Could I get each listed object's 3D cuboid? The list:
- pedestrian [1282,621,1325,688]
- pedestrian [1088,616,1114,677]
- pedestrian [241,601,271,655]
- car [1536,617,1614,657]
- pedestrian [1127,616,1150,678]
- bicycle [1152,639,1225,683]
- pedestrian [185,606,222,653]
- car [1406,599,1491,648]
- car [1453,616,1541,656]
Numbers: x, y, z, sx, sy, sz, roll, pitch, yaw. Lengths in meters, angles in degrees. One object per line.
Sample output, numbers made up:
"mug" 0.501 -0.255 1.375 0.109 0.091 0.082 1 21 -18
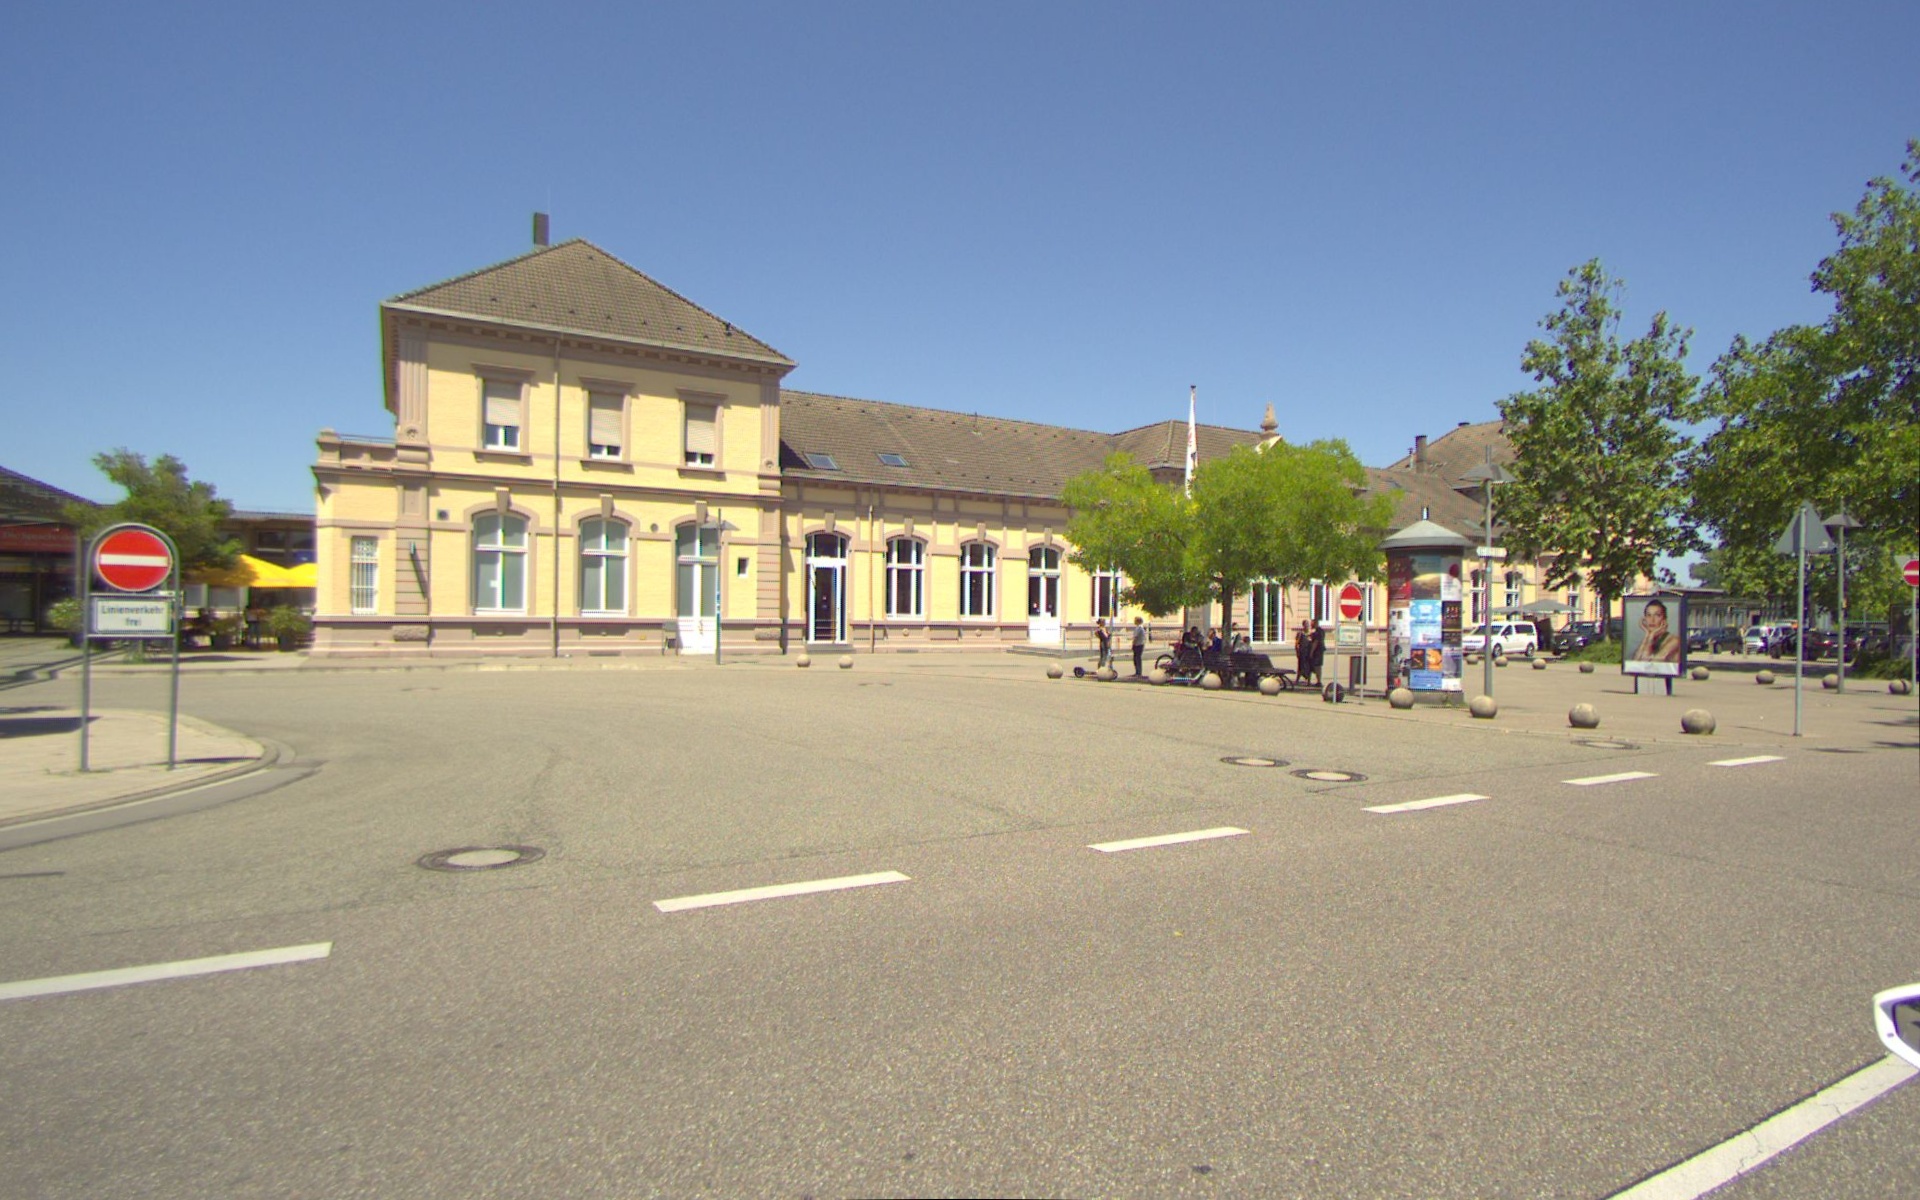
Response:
"pedestrian" 8.868 1.397 25.945 0.708 1.681 0.761 2 -2 -13
"pedestrian" 4.079 1.340 28.997 0.644 1.695 0.632 2 -2 14
"pedestrian" -22.872 0.907 32.649 0.772 1.708 0.659 -1 0 -37
"car" 33.062 1.996 53.990 3.954 2.040 1.984 3 -2 -30
"pedestrian" 5.082 1.340 28.589 0.574 1.732 0.588 2 -2 14
"bicycle" 5.802 1.529 25.600 1.770 1.044 0.487 0 -1 38
"pedestrian" -24.854 0.955 32.993 0.952 1.496 0.890 1 -1 -39
"car" 26.404 1.282 54.237 4.948 2.501 1.710 1 0 -31
"car" 27.129 1.831 50.719 4.720 1.943 1.743 2 -1 -30
